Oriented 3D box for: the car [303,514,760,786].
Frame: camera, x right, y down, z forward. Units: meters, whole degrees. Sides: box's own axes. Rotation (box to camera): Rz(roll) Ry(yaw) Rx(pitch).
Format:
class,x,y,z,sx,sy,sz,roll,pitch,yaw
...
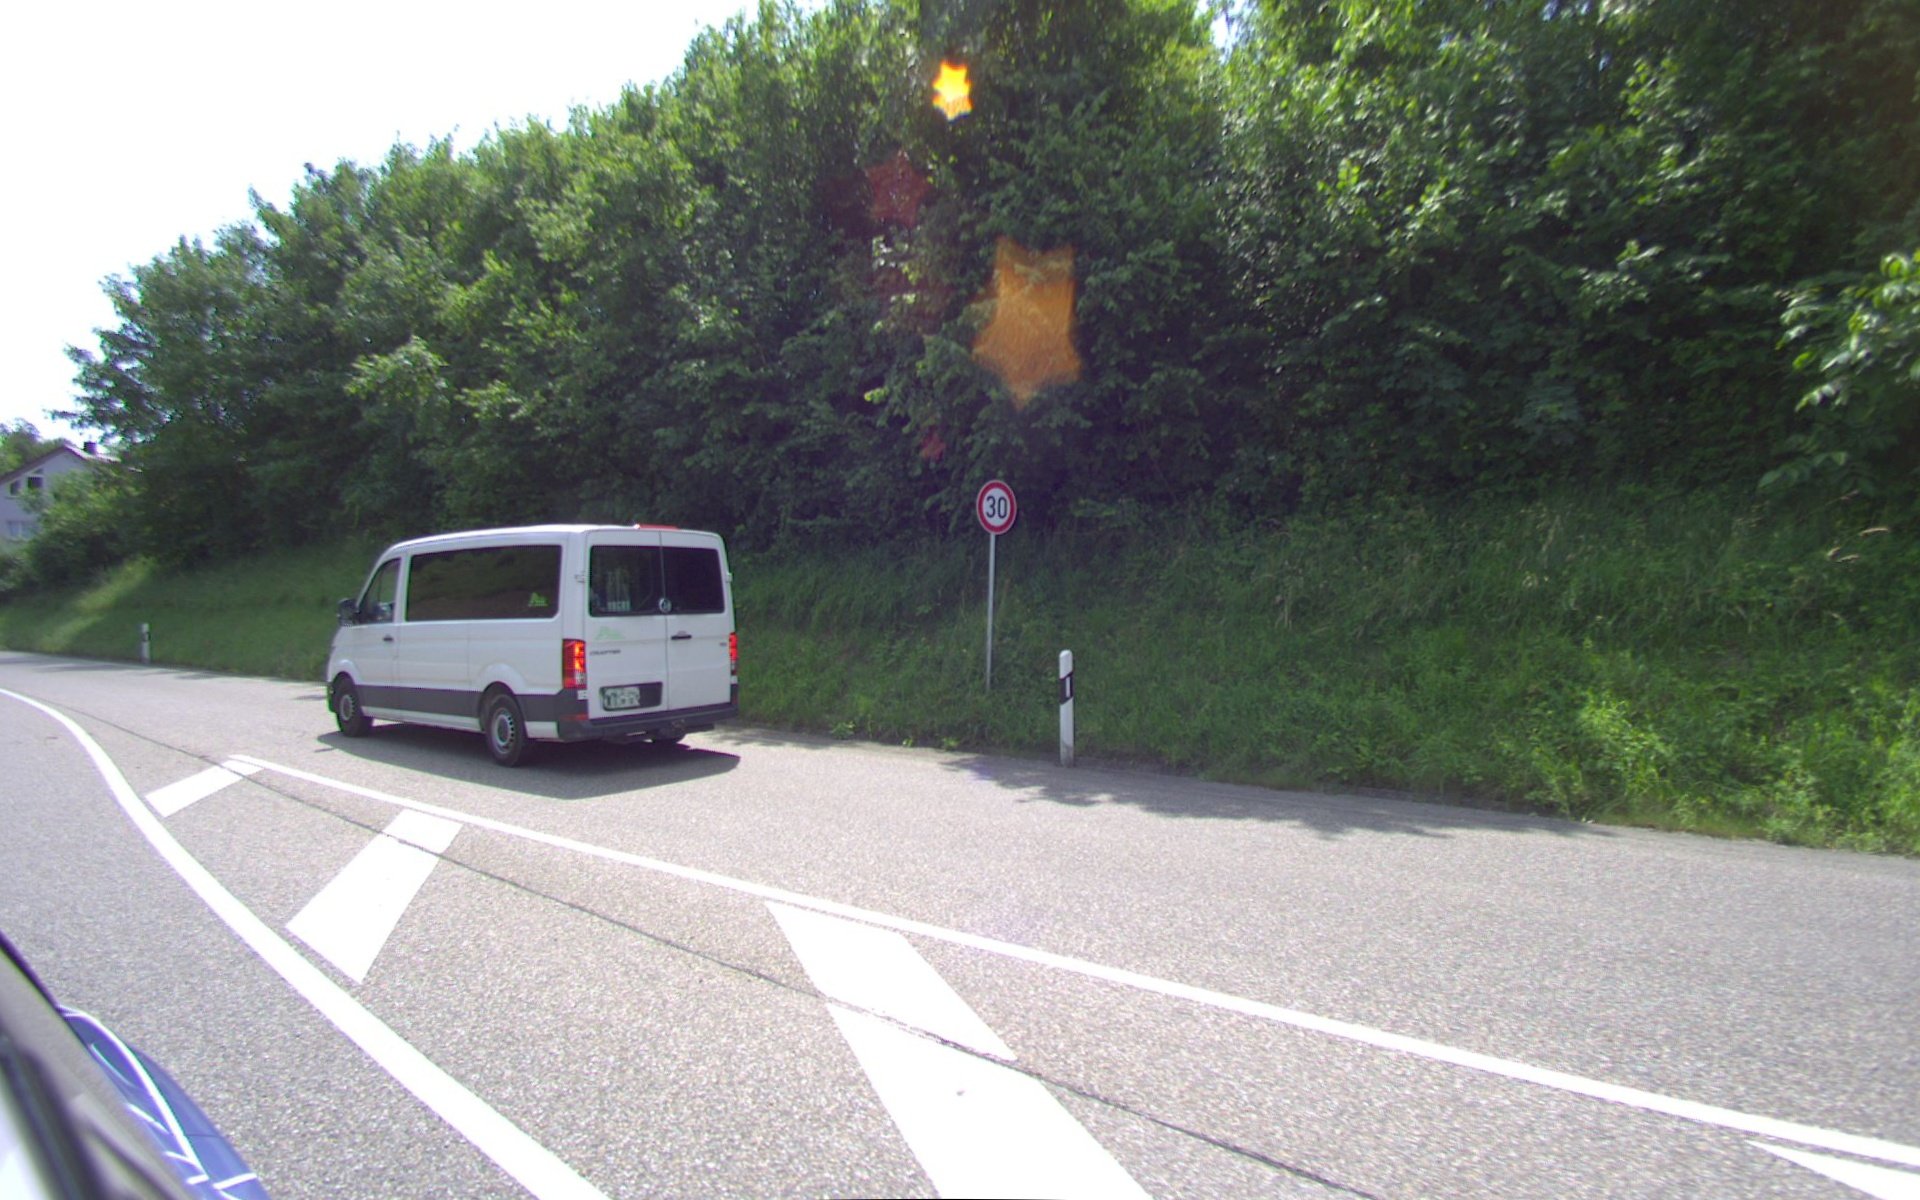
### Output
class,x,y,z,sx,sy,sz,roll,pitch,yaw
car,-4.985,0.460,11.248,5.938,2.308,2.066,-1,-1,38
